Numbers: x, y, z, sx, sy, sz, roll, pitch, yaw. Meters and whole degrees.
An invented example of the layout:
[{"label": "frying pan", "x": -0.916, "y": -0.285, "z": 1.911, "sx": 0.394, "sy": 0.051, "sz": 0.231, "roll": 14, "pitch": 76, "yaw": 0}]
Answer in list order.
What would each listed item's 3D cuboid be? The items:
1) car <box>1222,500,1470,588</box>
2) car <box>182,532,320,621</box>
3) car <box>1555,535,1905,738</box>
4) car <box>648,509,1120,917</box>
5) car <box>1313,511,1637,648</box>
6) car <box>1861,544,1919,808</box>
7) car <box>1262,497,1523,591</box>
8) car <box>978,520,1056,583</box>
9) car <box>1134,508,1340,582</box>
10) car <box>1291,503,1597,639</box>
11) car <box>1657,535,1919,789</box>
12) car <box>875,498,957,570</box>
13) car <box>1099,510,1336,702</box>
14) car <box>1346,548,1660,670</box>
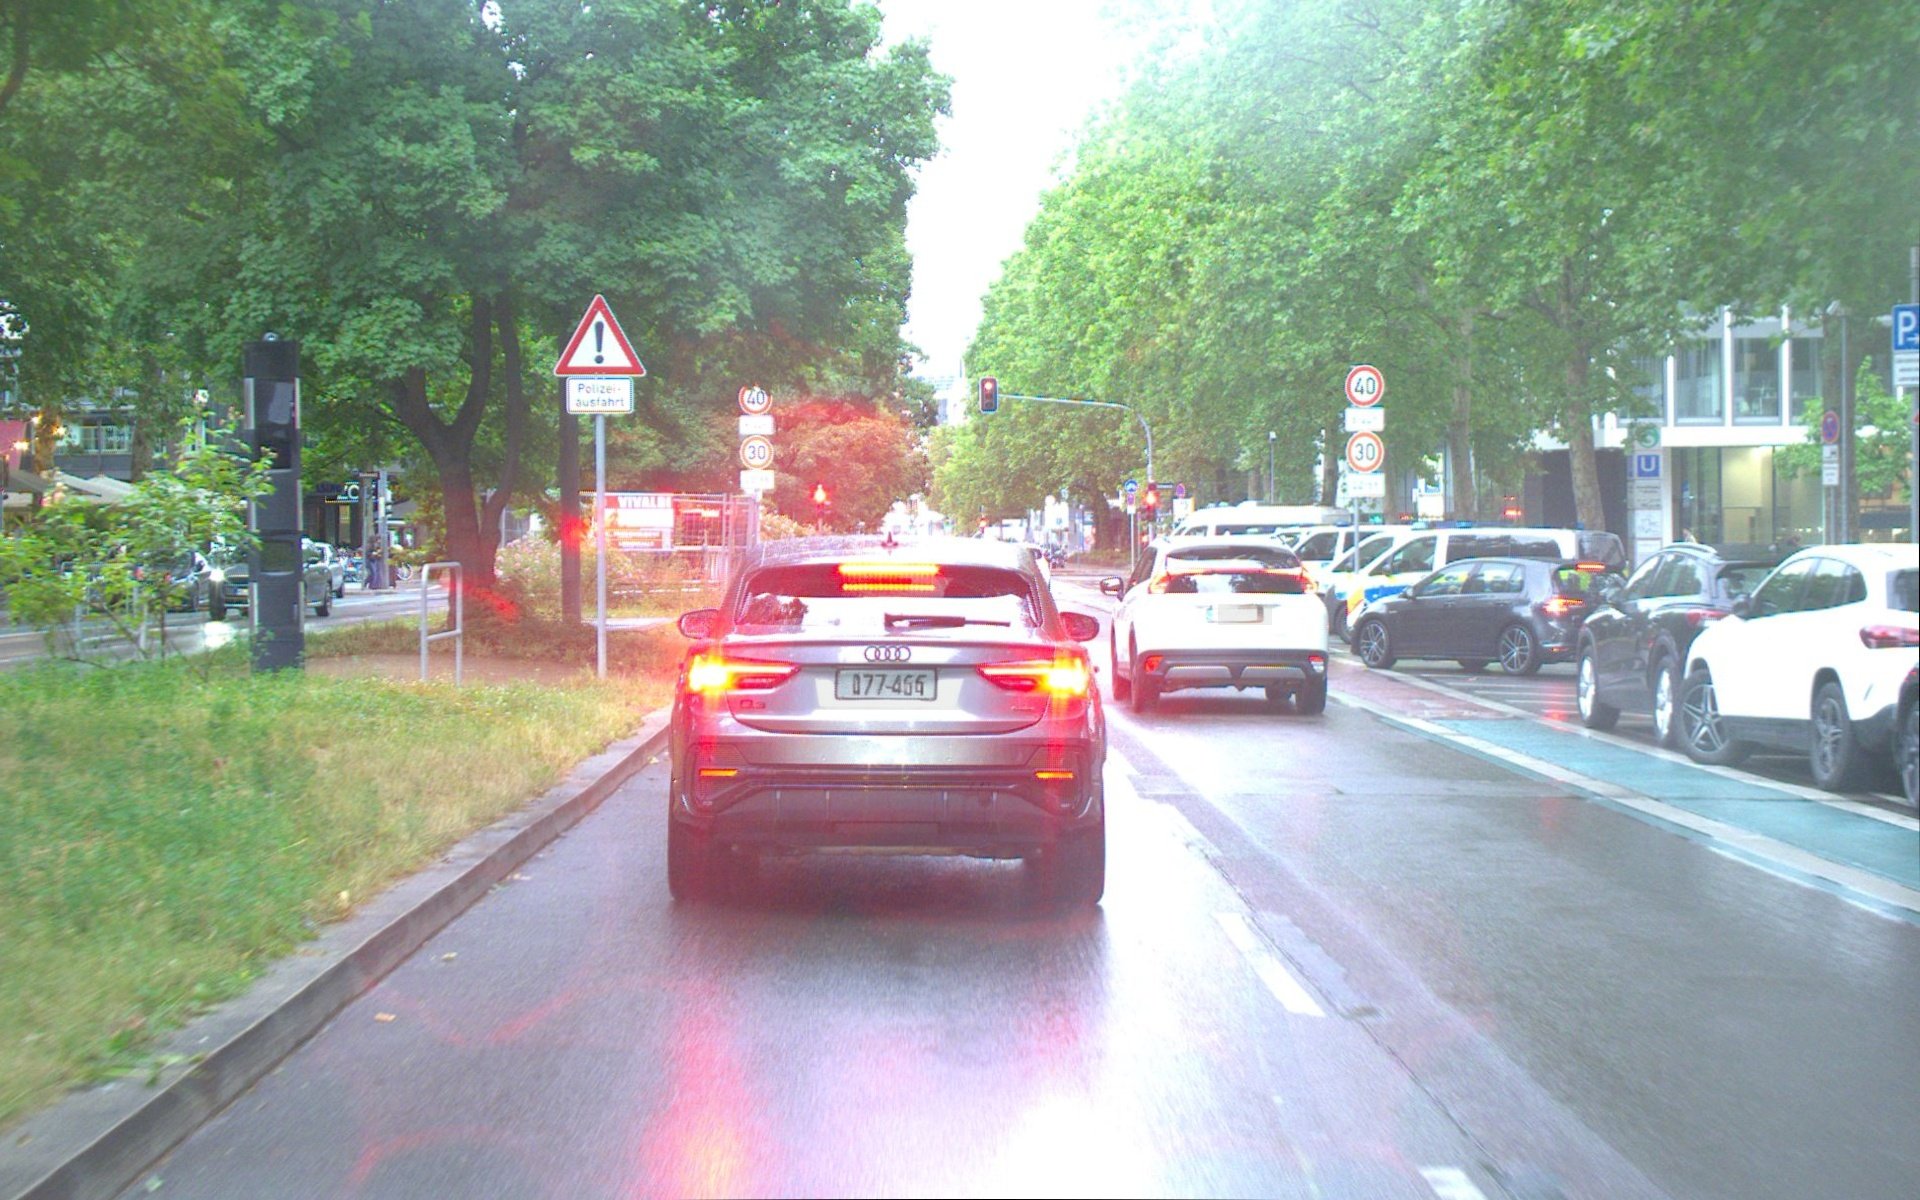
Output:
[{"label": "car", "x": 7.961, "y": -1.156, "z": 70.951, "sx": 4.645, "sy": 1.700, "sz": 1.997, "roll": 2, "pitch": 0, "yaw": 27}, {"label": "car", "x": -14.282, "y": -0.485, "z": 69.421, "sx": 1.760, "sy": 1.698, "sz": 4.333, "roll": 1, "pitch": 0, "yaw": 1}, {"label": "car", "x": 6.231, "y": 0.259, "z": 28.270, "sx": 1.695, "sy": 1.518, "sz": 4.024, "roll": 1, "pitch": 0, "yaw": -4}, {"label": "car", "x": -0.367, "y": 0.414, "z": 15.577, "sx": 1.849, "sy": 1.596, "sz": 4.000, "roll": 1, "pitch": 1, "yaw": -2}, {"label": "car", "x": 8.033, "y": -0.337, "z": 53.854, "sx": 4.602, "sy": 2.007, "sz": 1.964, "roll": 2, "pitch": 1, "yaw": 37}, {"label": "car", "x": 6.516, "y": 0.472, "z": 18.578, "sx": 1.867, "sy": 1.515, "sz": 4.559, "roll": 1, "pitch": 0, "yaw": -3}, {"label": "car", "x": 8.460, "y": -1.099, "z": 67.287, "sx": 4.645, "sy": 1.700, "sz": 1.997, "roll": 2, "pitch": 0, "yaw": 27}, {"label": "car", "x": 1.563, "y": -1.333, "z": 95.438, "sx": 1.993, "sy": 1.645, "sz": 4.000, "roll": 1, "pitch": 0, "yaw": -1}, {"label": "car", "x": 6.841, "y": -1.361, "z": 84.980, "sx": 4.645, "sy": 1.700, "sz": 1.997, "roll": 2, "pitch": 0, "yaw": 27}, {"label": "car", "x": 8.498, "y": -0.514, "z": 60.458, "sx": 4.889, "sy": 2.246, "sz": 1.997, "roll": 2, "pitch": 0, "yaw": 28}, {"label": "car", "x": 6.209, "y": 0.380, "z": 23.405, "sx": 1.727, "sy": 1.566, "sz": 4.074, "roll": 1, "pitch": 0, "yaw": -5}, {"label": "car", "x": -1.136, "y": -1.643, "z": 86.902, "sx": 1.993, "sy": 1.720, "sz": 4.000, "roll": 1, "pitch": 0, "yaw": -2}, {"label": "car", "x": 2.410, "y": 0.037, "z": 33.130, "sx": 1.878, "sy": 1.691, "sz": 4.000, "roll": 1, "pitch": 0, "yaw": -1}, {"label": "car", "x": 6.574, "y": 0.085, "z": 41.947, "sx": 1.558, "sy": 1.374, "sz": 3.870, "roll": 1, "pitch": 1, "yaw": -33}]
